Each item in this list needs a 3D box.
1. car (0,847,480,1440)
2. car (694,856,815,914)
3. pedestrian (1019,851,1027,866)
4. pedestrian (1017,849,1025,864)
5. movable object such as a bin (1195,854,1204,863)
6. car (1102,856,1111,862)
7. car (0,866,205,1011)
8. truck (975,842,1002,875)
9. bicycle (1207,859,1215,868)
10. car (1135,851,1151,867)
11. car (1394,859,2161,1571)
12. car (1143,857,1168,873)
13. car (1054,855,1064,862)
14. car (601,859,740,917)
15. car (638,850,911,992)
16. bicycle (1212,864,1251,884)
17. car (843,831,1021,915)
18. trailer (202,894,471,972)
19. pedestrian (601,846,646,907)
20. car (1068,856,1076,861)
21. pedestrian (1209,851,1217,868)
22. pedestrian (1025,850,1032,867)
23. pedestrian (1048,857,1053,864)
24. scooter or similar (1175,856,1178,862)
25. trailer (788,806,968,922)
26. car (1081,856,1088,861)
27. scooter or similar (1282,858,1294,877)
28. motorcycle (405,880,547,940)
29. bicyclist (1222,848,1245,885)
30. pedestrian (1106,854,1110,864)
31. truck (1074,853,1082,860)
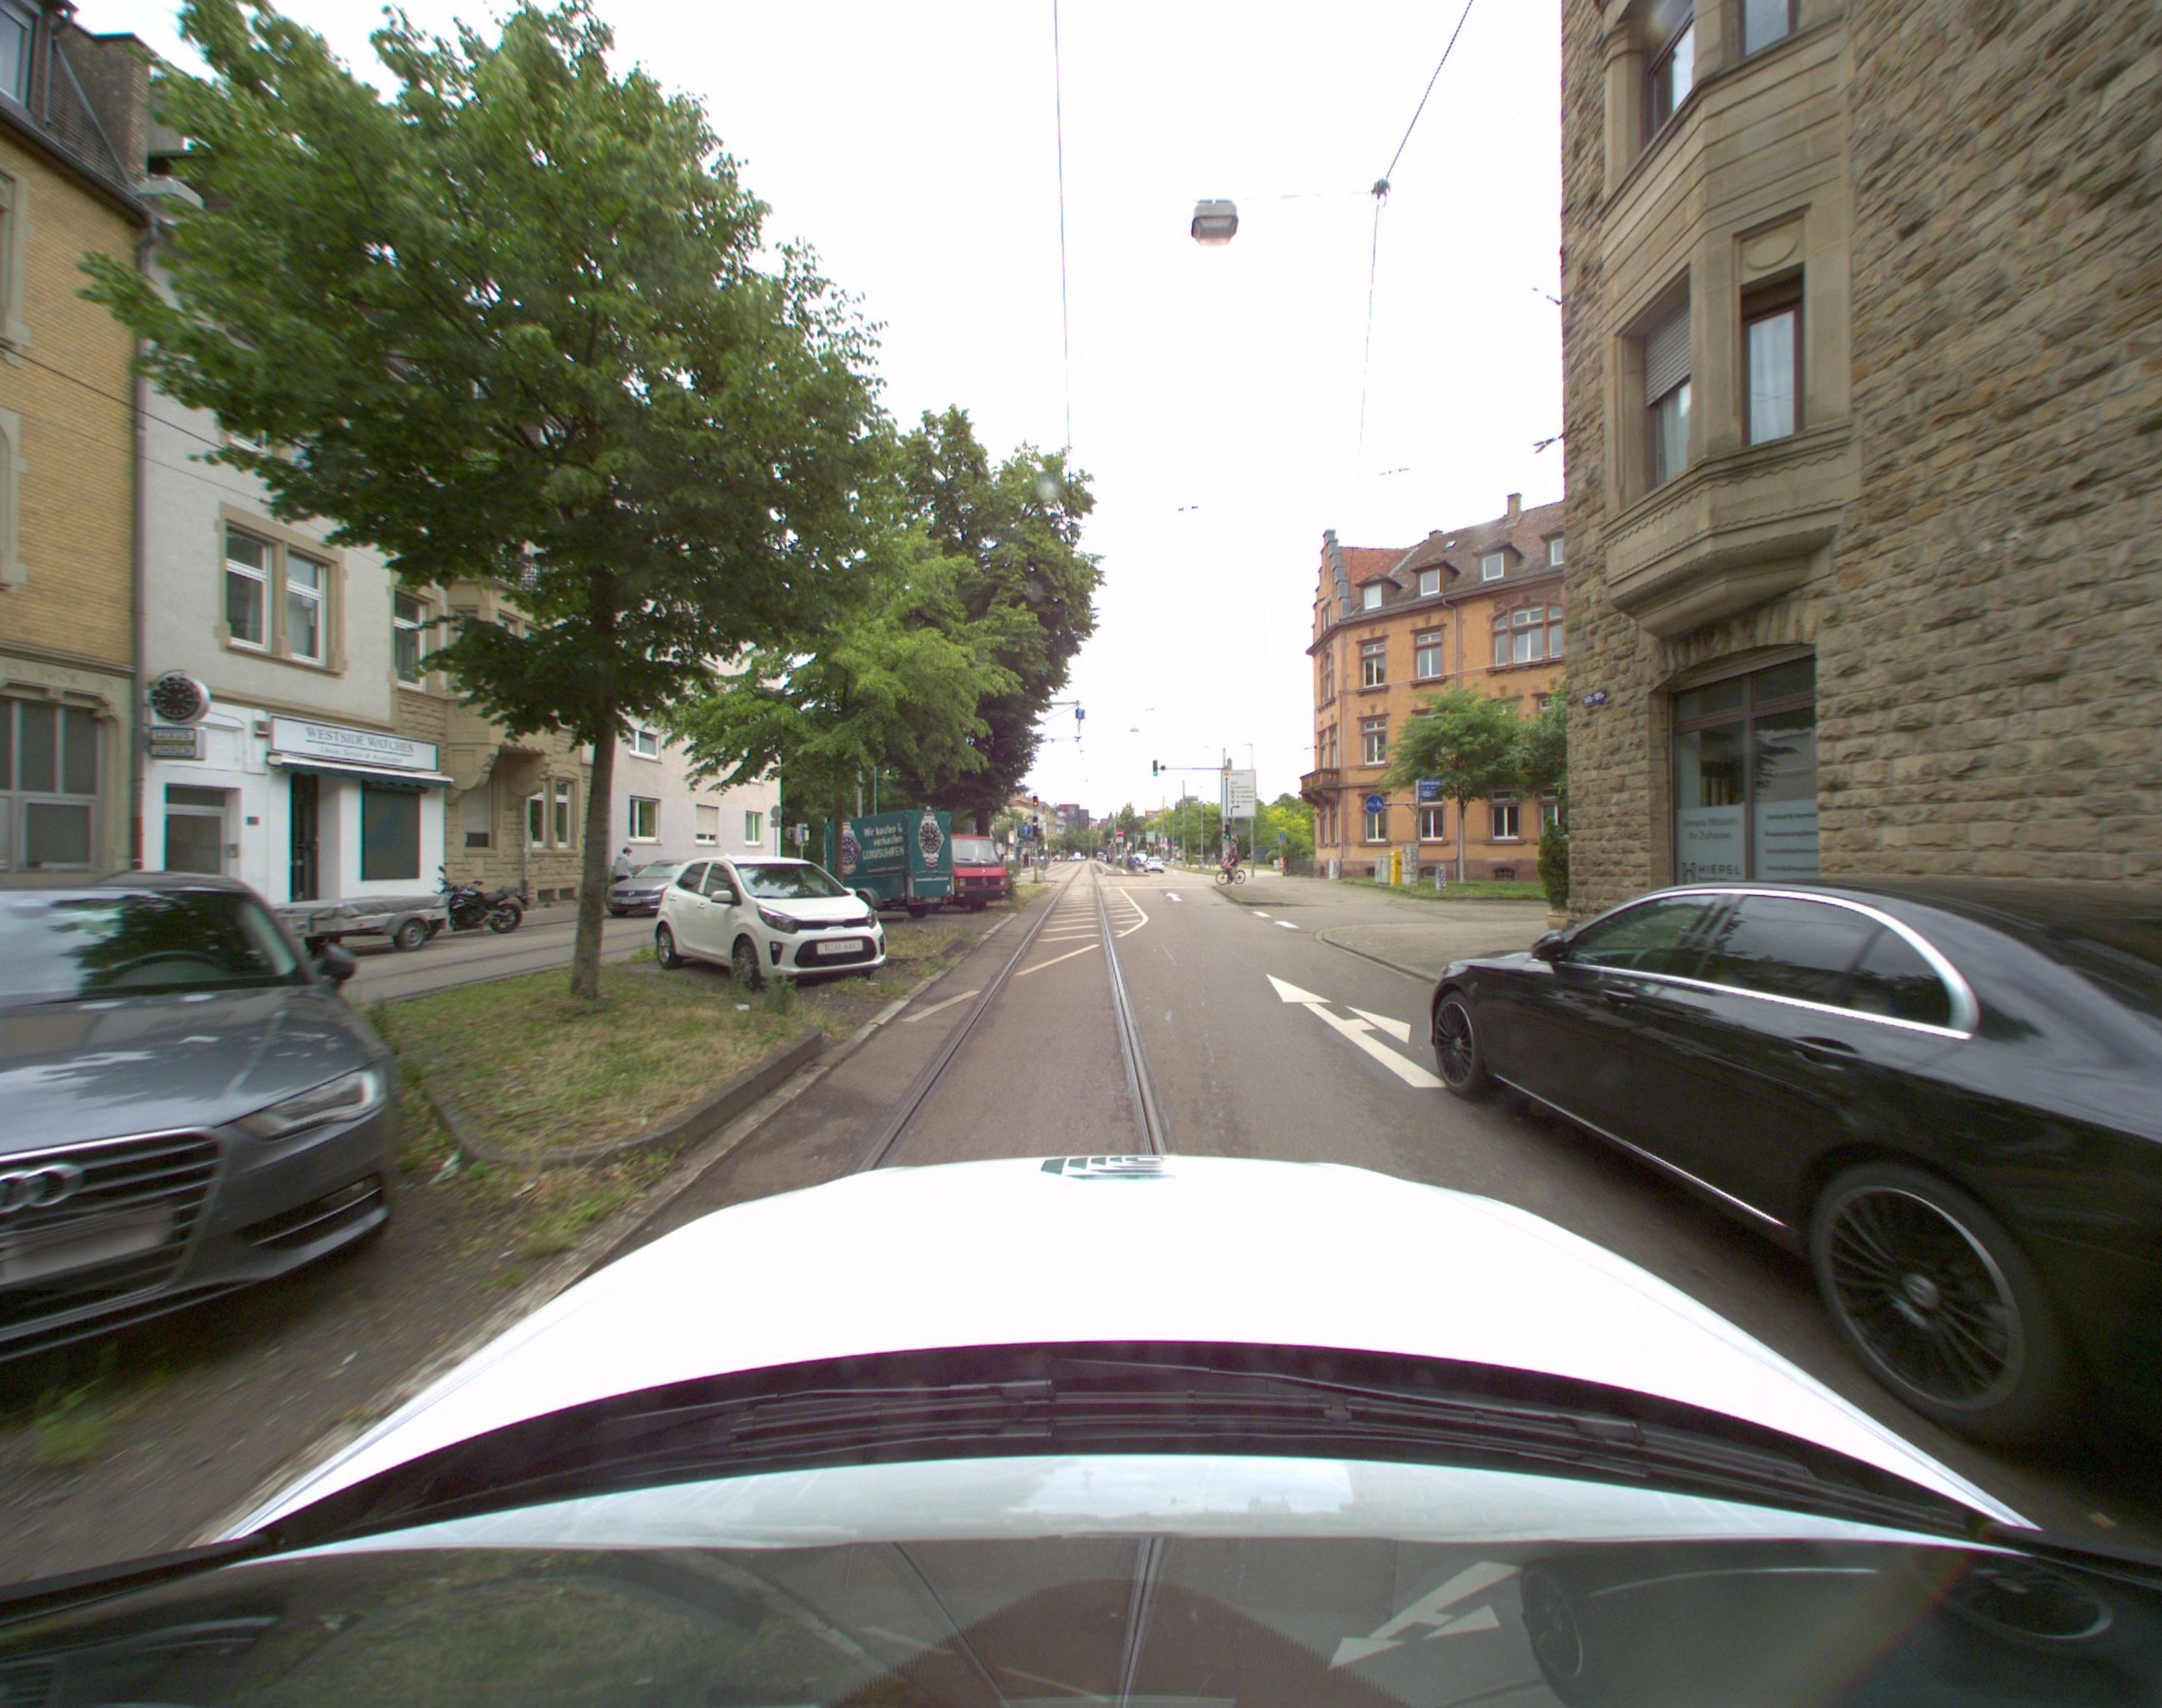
[{"bbox_3d":[-4.199,0.710,3.422,4.285,1.435,1.910,0,0,43],"label":"car"},{"bbox_3d":[-8.579,0.771,21.754,1.639,1.382,3.882,0,-1,0],"label":"car"},{"bbox_3d":[-6.453,0.456,90.470,0.766,1.660,1.024,-1,0,-2],"label":"pedestrian"},{"bbox_3d":[-6.441,0.284,87.424,0.672,1.624,0.637,-1,-1,18],"label":"pedestrian"},{"bbox_3d":[18.271,0.709,125.661,1.277,1.390,1.159,0,-1,1],"label":"movable object such as a bin"},{"bbox_3d":[5.913,1.205,188.578,1.760,1.493,3.895,0,-1,8],"label":"car"},{"bbox_3d":[-11.700,0.864,8.151,1.630,1.443,3.922,0,0,-1],"label":"car"},{"bbox_3d":[-9.285,0.453,82.365,2.179,3.157,7.324,0,-1,-2],"label":"truck"},{"bbox_3d":[14.356,1.009,90.205,0.652,1.003,1.779,0,0,1],"label":"bicycle"},{"bbox_3d":[7.855,0.588,103.980,1.776,1.962,4.382,0,0,0],"label":"car"},{"bbox_3d":[3.208,0.767,3.667,1.817,1.450,5.008,1,0,2],"label":"car"},{"bbox_3d":[7.019,1.047,77.085,1.778,1.472,4.006,0,0,-3],"label":"car"},{"bbox_3d":[-5.377,1.109,199.697,1.761,1.493,3.894,0,-1,7],"label":"car"},{"bbox_3d":[-11.276,0.864,22.765,1.630,1.443,4.568,0,0,-1],"label":"car"},{"bbox_3d":[-4.007,0.698,10.354,3.814,1.463,1.700,0,0,43],"label":"car"},{"bbox_3d":[7.456,0.973,40.282,1.874,0.924,0.788,0,0,-32],"label":"bicycle"},{"bbox_3d":[-3.966,0.453,21.260,4.706,1.974,1.972,-1,0,39],"label":"car"},{"bbox_3d":[-11.609,1.182,12.973,1.450,0.893,3.075,-2,0,-1],"label":"trailer"},{"bbox_3d":[-13.634,0.668,24.294,0.795,1.766,0.900,-1,0,-1],"label":"pedestrian"},{"bbox_3d":[-2.411,1.175,223.209,1.761,1.493,3.894,0,-1,7],"label":"car"},{"bbox_3d":[14.640,0.574,90.145,0.737,1.869,0.682,-1,0,-1],"label":"pedestrian"},{"bbox_3d":[-5.595,0.483,86.652,0.699,1.715,0.697,-1,-1,-8],"label":"pedestrian"},{"bbox_3d":[-5.391,1.132,143.684,0.862,1.267,0.693,-1,0,-2],"label":"pedestrian"},{"bbox_3d":[17.824,0.873,151.883,0.373,1.141,1.203,-1,0,11],"label":"scooter or similar"},{"bbox_3d":[-4.562,0.217,18.235,3.624,2.344,1.943,-1,0,33],"label":"trailer"},{"bbox_3d":[1.003,1.470,253.561,1.761,1.493,3.894,0,-1,7],"label":"car"},{"bbox_3d":[12.824,0.821,50.526,0.375,1.141,1.198,-1,0,-2],"label":"scooter or similar"},{"bbox_3d":[-11.841,1.063,16.054,0.703,1.038,2.240,-1,0,17],"label":"motorcycle"},{"bbox_3d":[7.505,0.598,40.063,0.684,1.795,0.882,0,0,-31],"label":"bicyclist"},{"bbox_3d":[4.226,0.772,127.059,0.529,1.558,0.571,-1,-1,4],"label":"pedestrian"},{"bbox_3d":[-0.903,0.812,235.785,1.778,2.032,5.406,0,-1,7],"label":"truck"}]
